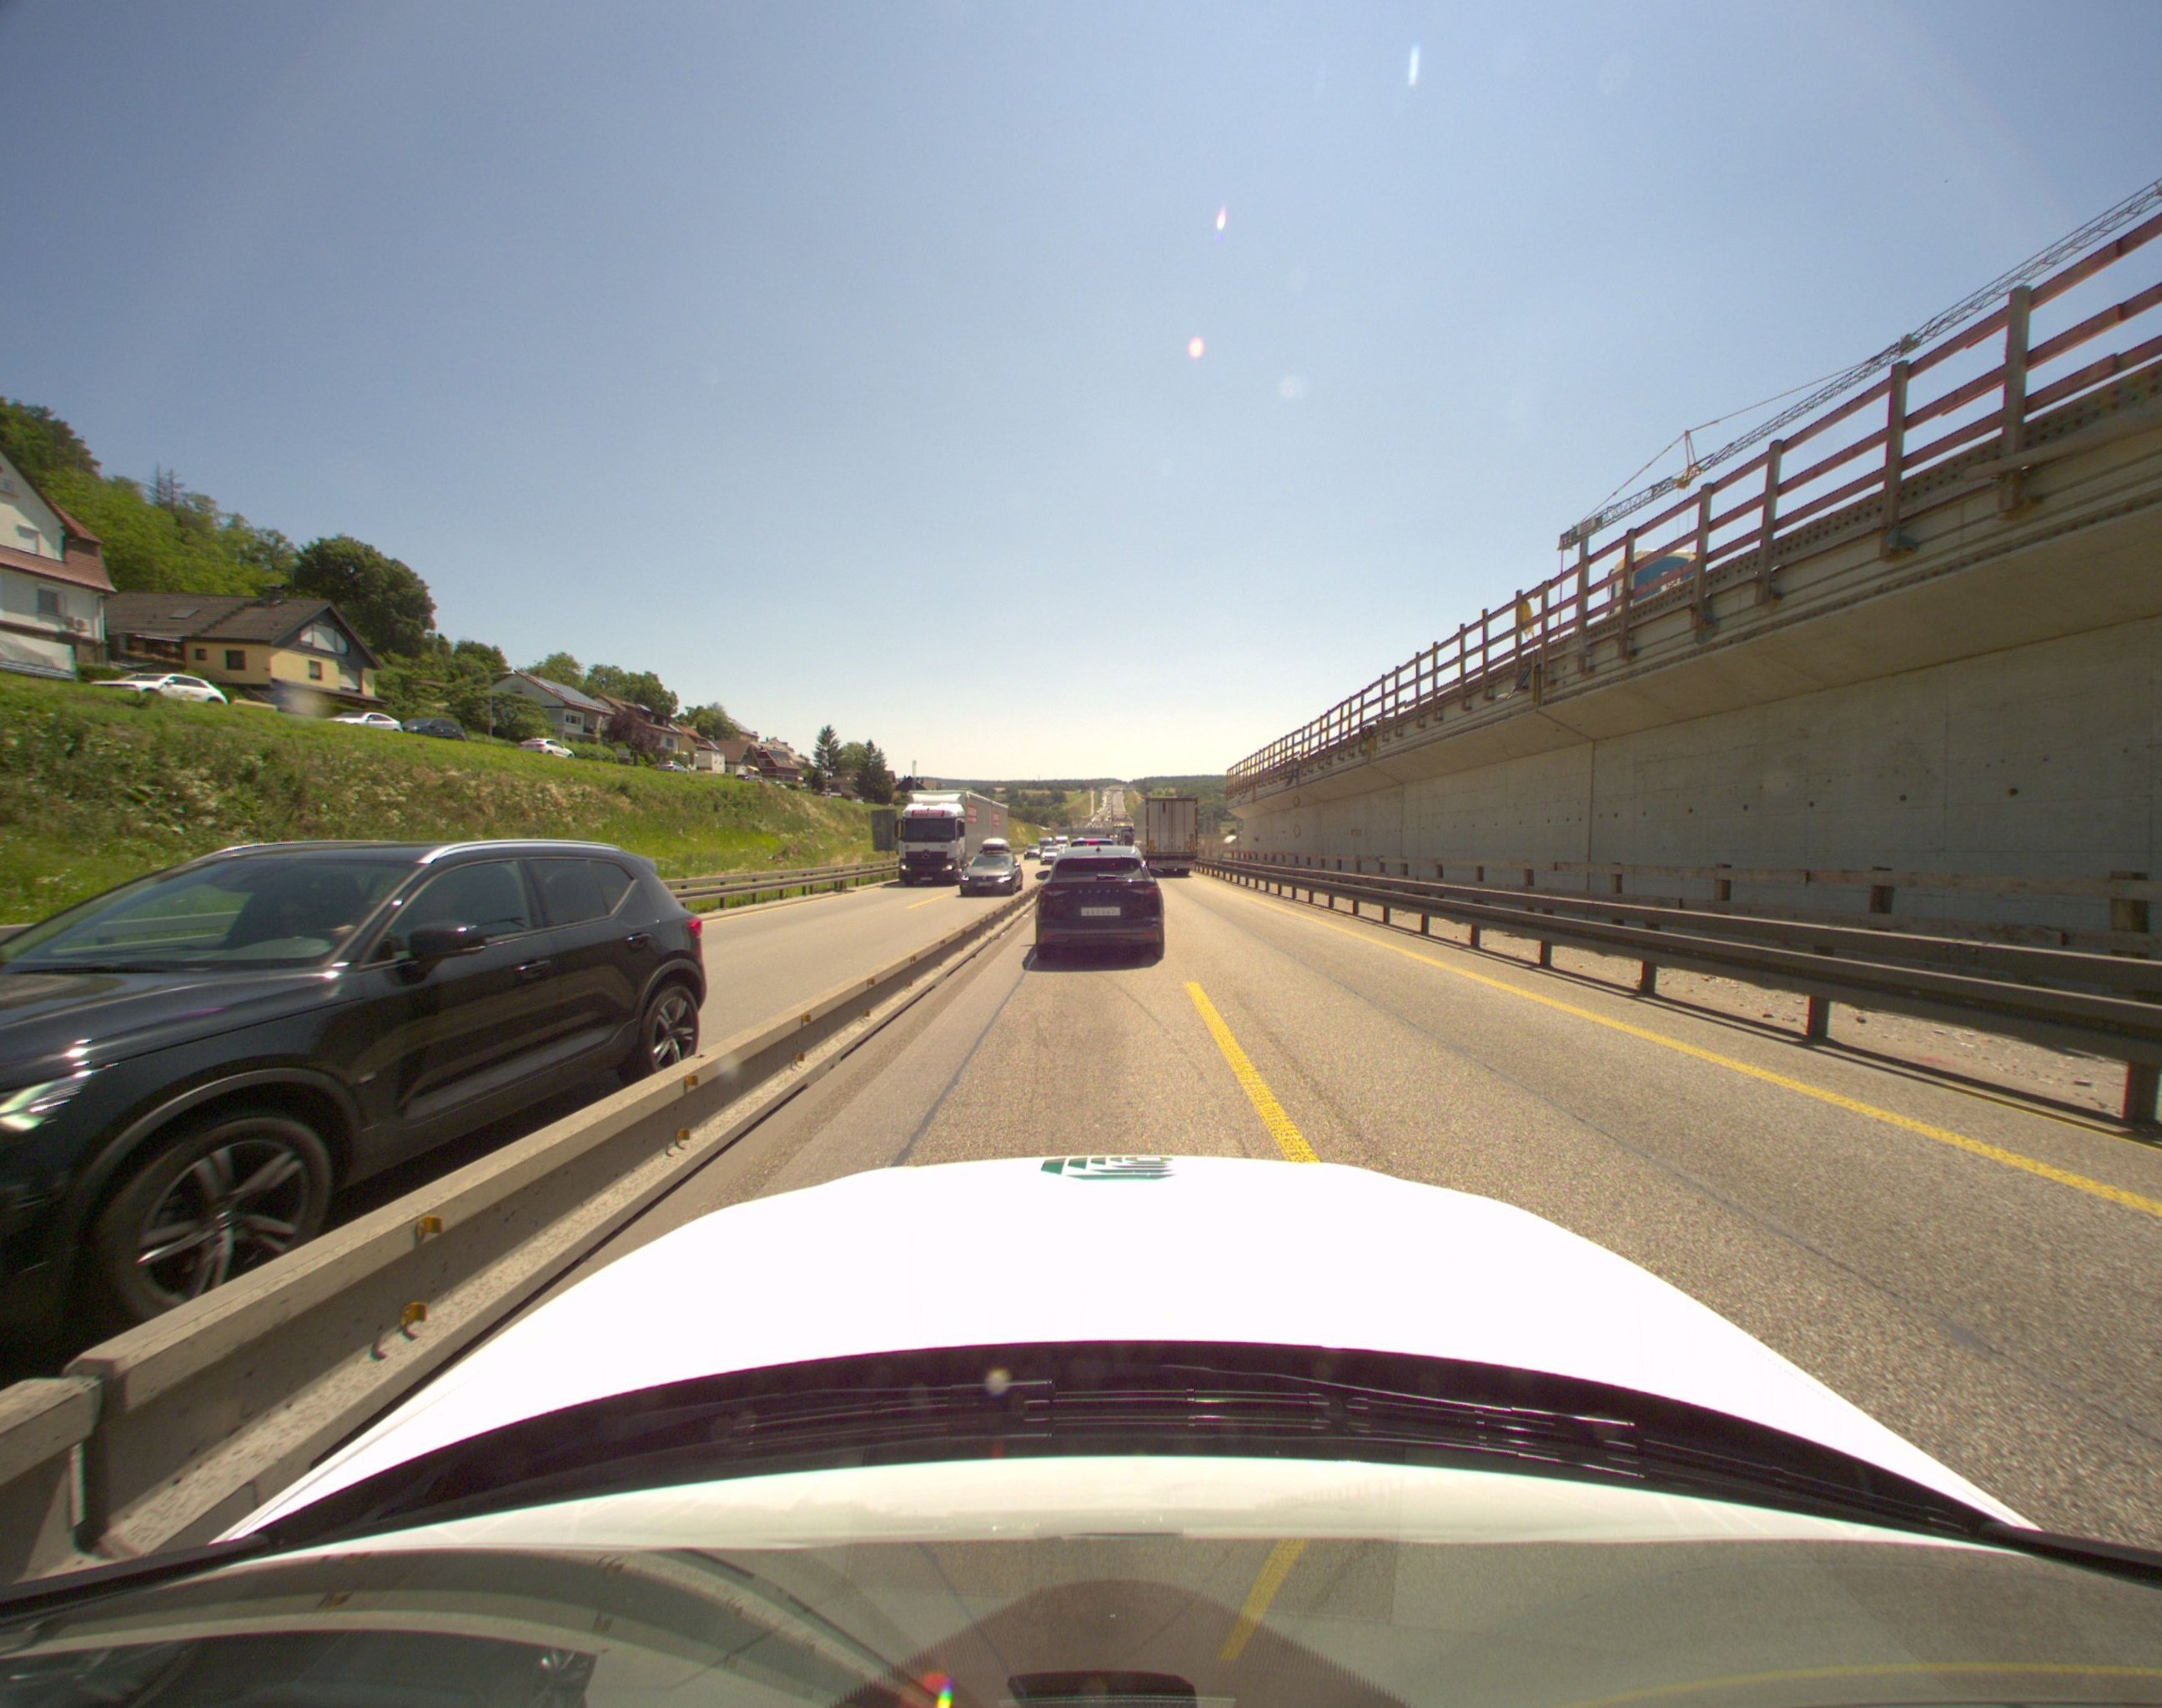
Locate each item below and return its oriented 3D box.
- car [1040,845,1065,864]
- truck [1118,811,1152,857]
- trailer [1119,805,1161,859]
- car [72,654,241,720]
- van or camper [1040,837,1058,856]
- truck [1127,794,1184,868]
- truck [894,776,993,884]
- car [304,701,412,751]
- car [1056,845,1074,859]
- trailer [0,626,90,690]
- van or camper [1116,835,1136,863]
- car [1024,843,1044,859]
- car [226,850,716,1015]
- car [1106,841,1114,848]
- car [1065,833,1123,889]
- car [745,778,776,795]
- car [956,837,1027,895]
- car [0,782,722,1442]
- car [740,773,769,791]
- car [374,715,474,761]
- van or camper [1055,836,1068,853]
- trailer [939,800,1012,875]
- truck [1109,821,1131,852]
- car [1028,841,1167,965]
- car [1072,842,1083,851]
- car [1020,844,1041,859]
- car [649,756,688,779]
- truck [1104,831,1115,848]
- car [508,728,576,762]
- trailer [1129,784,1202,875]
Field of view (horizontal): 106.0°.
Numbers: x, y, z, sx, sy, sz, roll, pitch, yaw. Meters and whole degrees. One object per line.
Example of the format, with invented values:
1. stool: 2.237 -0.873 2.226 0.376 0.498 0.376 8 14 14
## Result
1. car: -2.224 0.044 64.916 1.796 1.464 4.001 -1 0 1
2. truck: 5.426 -1.925 83.127 3.169 4.513 8.167 0 0 1
3. trailer: 5.295 -1.808 76.128 3.169 4.513 14.970 0 0 1
4. car: -36.877 -6.599 32.710 1.992 1.656 4.540 0 0 -8
5. van or camper: -4.396 -1.109 113.203 2.132 2.573 6.566 0 1 1
6. truck: 4.770 -1.478 53.632 3.169 4.512 8.169 0 1 1
7. truck: -6.199 -1.021 38.586 2.611 4.396 10.388 0 0 1
8. car: -38.187 -6.718 43.179 1.990 1.872 4.424 0 0 -4
9. car: -1.712 -0.206 88.692 1.823 1.433 4.630 -1 1 1
10. trailer: -36.204 -6.632 27.519 1.901 1.516 3.027 0 0 -9
11. van or camper: 5.540 -0.539 99.491 2.378 3.280 6.475 -1 -1 3
12. car: -4.986 -0.347 87.447 1.767 1.582 4.287 0 1 1
13. car: -6.825 0.737 10.172 1.986 1.508 5.303 0 0 2
14. car: 6.673 -2.243 185.681 1.806 1.601 4.575 -1 1 2
15. car: 0.500 0.252 30.300 1.986 1.926 4.508 0 0 1
16. car: -43.085 -9.075 109.595 2.341 1.794 4.798 0 0 -2
17. car: -3.060 0.371 28.737 1.842 1.890 4.503 0 1 1
18. car: -3.623 0.653 3.951 1.863 1.684 4.002 0 0 2
19. car: -41.429 -9.126 103.419 2.175 1.794 4.755 0 0 -5
20. car: -38.792 -6.815 48.274 2.066 2.008 4.966 0 0 -4
21. van or camper: -3.731 -1.824 156.809 2.283 3.066 6.926 0 1 1
22. trailer: -6.024 -0.890 48.126 2.918 3.988 8.709 0 0 1
23. truck: 5.890 -2.562 124.899 2.842 4.465 11.918 0 0 1
24. car: 0.287 0.627 12.652 1.795 1.607 4.002 -1 0 2
25. car: -0.603 -1.249 138.364 1.836 1.475 4.836 -1 1 1
26. car: -5.368 -0.245 87.336 1.987 1.474 3.998 0 0 -1
27. car: -40.104 -8.346 79.253 1.990 1.794 3.992 0 0 -5
28. truck: 7.519 -3.882 216.135 2.630 4.193 9.287 0 0 2
29. car: -39.619 -7.993 60.041 1.990 1.794 5.002 0 0 -5
30. trailer: 4.614 -1.336 47.164 3.169 4.512 13.113 0 1 1
